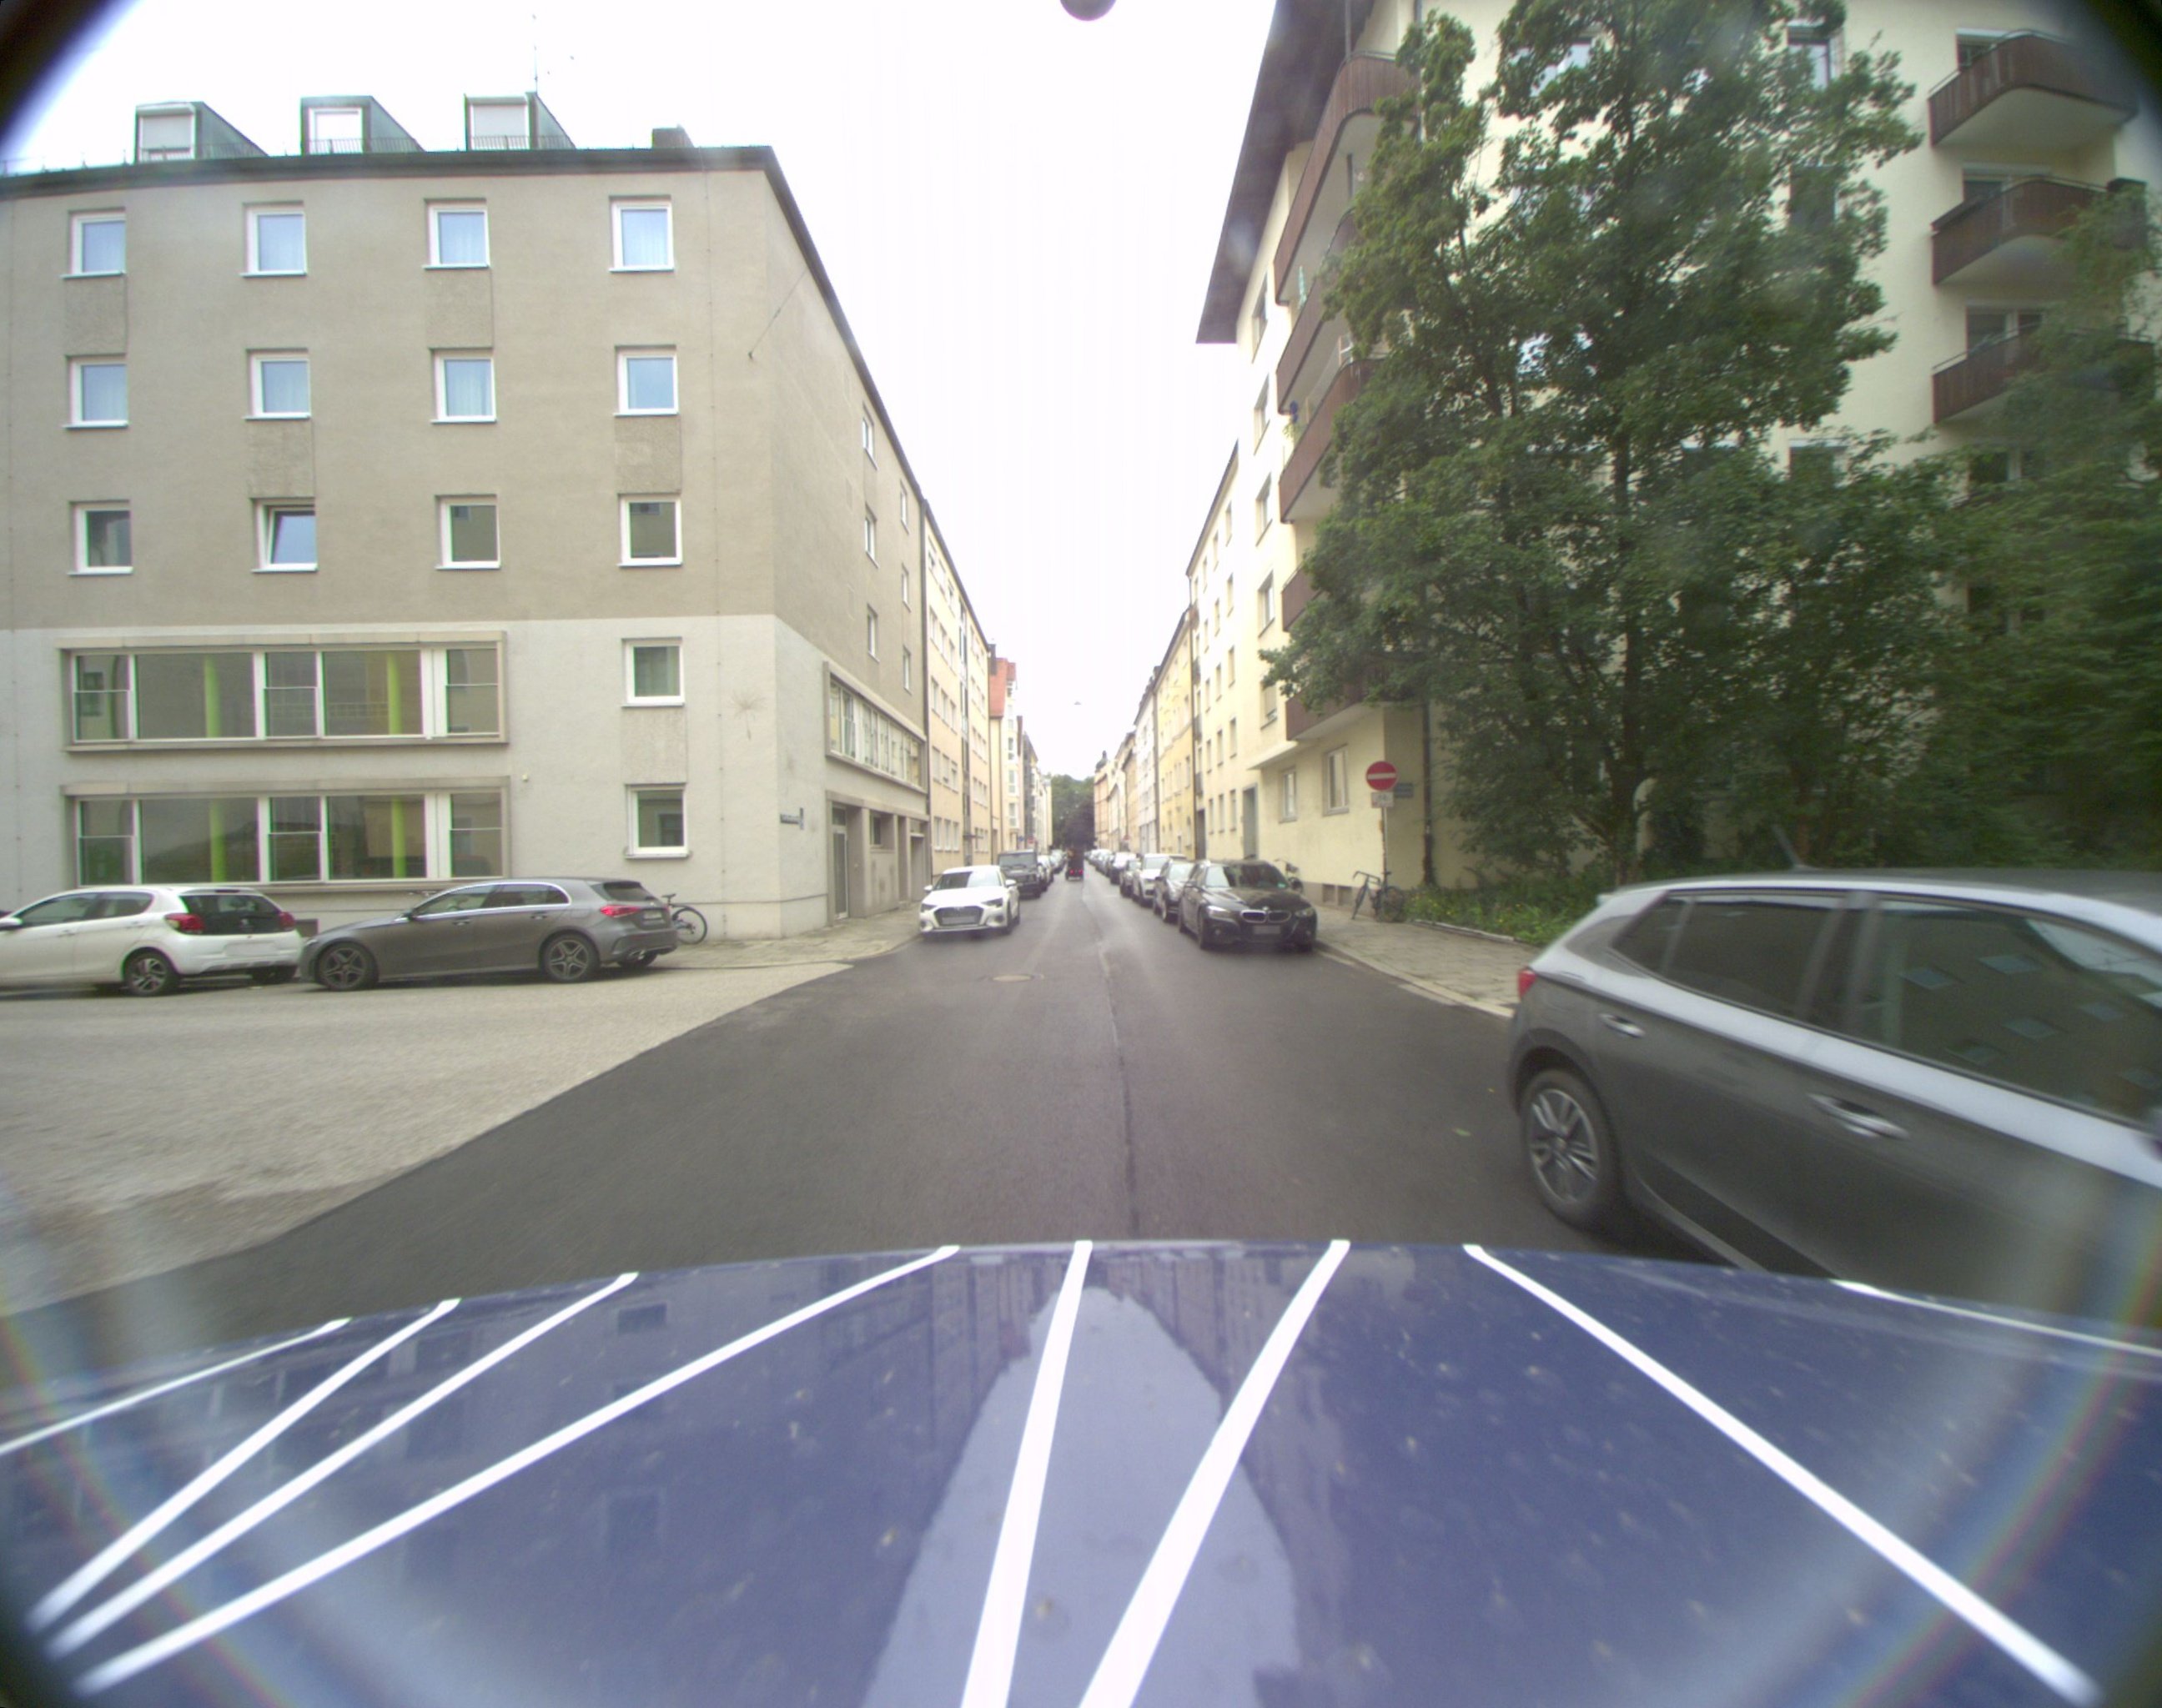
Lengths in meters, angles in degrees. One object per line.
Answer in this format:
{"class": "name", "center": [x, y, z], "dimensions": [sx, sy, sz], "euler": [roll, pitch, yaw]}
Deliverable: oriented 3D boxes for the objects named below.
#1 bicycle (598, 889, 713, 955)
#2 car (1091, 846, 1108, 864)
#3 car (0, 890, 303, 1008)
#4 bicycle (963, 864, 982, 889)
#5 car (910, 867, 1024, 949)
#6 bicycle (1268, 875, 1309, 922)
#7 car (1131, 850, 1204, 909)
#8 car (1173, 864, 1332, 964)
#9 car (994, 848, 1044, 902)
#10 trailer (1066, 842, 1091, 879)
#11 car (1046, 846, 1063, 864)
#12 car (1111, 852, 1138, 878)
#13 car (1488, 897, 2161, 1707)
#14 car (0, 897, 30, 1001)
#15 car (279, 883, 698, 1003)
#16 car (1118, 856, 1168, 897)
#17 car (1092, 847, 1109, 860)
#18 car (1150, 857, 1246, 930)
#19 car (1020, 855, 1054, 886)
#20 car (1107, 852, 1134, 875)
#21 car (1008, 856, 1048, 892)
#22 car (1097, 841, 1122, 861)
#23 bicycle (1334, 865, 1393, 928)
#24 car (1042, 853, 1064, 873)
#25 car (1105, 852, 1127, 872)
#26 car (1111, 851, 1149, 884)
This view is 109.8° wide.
{"class": "bicycle", "center": [-7.786, 1.237, 13.933], "dimensions": [1.801, 1.109, 0.465], "euler": [-2, 1, -1]}
{"class": "car", "center": [1.982, 0.081, 81.394], "dimensions": [1.728, 1.779, 4.248], "euler": [1, 2, 1]}
{"class": "car", "center": [-13.110, 1.265, 10.330], "dimensions": [3.353, 1.426, 1.567], "euler": [-1, -4, -1]}
{"class": "bicycle", "center": [-5.140, 1.072, 36.124], "dimensions": [0.656, 1.100, 1.760], "euler": [2, 1, -1]}
{"class": "car", "center": [-2.333, 1.072, 16.511], "dimensions": [1.823, 1.400, 3.951], "euler": [-2, 0, 0]}
{"class": "bicycle", "center": [5.615, 1.185, 20.664], "dimensions": [0.647, 1.155, 1.789], "euler": [0, 1, 1]}
{"class": "car", "center": [2.629, 0.728, 24.084], "dimensions": [1.770, 1.666, 4.366], "euler": [-1, 1, -1]}
{"class": "car", "center": [2.776, 0.908, 13.317], "dimensions": [1.860, 1.400, 4.383], "euler": [0, 0, 1]}
{"class": "car", "center": [-2.509, 0.810, 31.630], "dimensions": [1.755, 1.964, 4.342], "euler": [-4, 0, -2]}
{"class": "trailer", "center": [-0.114, 0.361, 46.686], "dimensions": [1.358, 2.104, 3.317], "euler": [-2, 1, 2]}
{"class": "car", "center": [-3.230, 0.043, 92.559], "dimensions": [1.878, 2.002, 5.105], "euler": [-3, 1, -1]}
{"class": "car", "center": [2.664, 0.646, 46.927], "dimensions": [1.566, 1.452, 3.475], "euler": [-1, 1, 2]}
{"class": "car", "center": [2.679, 0.920, 1.495], "dimensions": [1.697, 1.434, 3.942], "euler": [0, 0, 1]}
{"class": "car", "center": [-17.592, 1.368, 10.442], "dimensions": [3.675, 1.517, 1.567], "euler": [-1, -4, -6]}
{"class": "car", "center": [-7.988, 1.161, 10.624], "dimensions": [4.215, 1.391, 2.000], "euler": [-1, -1, -3]}
{"class": "car", "center": [2.355, 0.833, 29.569], "dimensions": [1.656, 1.427, 3.802], "euler": [-1, 1, 0]}
{"class": "car", "center": [2.392, -0.077, 95.731], "dimensions": [1.786, 1.596, 4.306], "euler": [1, 0, -4]}
{"class": "car", "center": [2.713, 0.861, 18.600], "dimensions": [1.770, 1.475, 4.423], "euler": [-1, 1, 1]}
{"class": "car", "center": [-2.413, 0.876, 42.169], "dimensions": [1.716, 1.477, 4.242], "euler": [-3, 1, -2]}
{"class": "car", "center": [2.655, 0.645, 51.406], "dimensions": [1.567, 1.452, 3.763], "euler": [-1, 1, -1]}
{"class": "car", "center": [-2.488, 0.918, 36.617], "dimensions": [1.716, 1.477, 4.242], "euler": [-3, 1, -2]}
{"class": "car", "center": [2.505, -0.305, 67.525], "dimensions": [1.868, 1.760, 4.734], "euler": [1, 1, -2]}
{"class": "bicycle", "center": [5.652, 0.818, 15.294], "dimensions": [0.536, 1.155, 1.789], "euler": [0, 1, 1]}
{"class": "car", "center": [-2.362, 0.749, 63.010], "dimensions": [1.721, 1.463, 4.529], "euler": [-3, 1, -3]}
{"class": "car", "center": [2.606, 0.561, 57.460], "dimensions": [1.566, 1.452, 3.404], "euler": [-1, 1, 2]}
{"class": "car", "center": [2.611, 0.673, 41.059], "dimensions": [1.884, 1.650, 4.414], "euler": [-1, 1, 2]}
